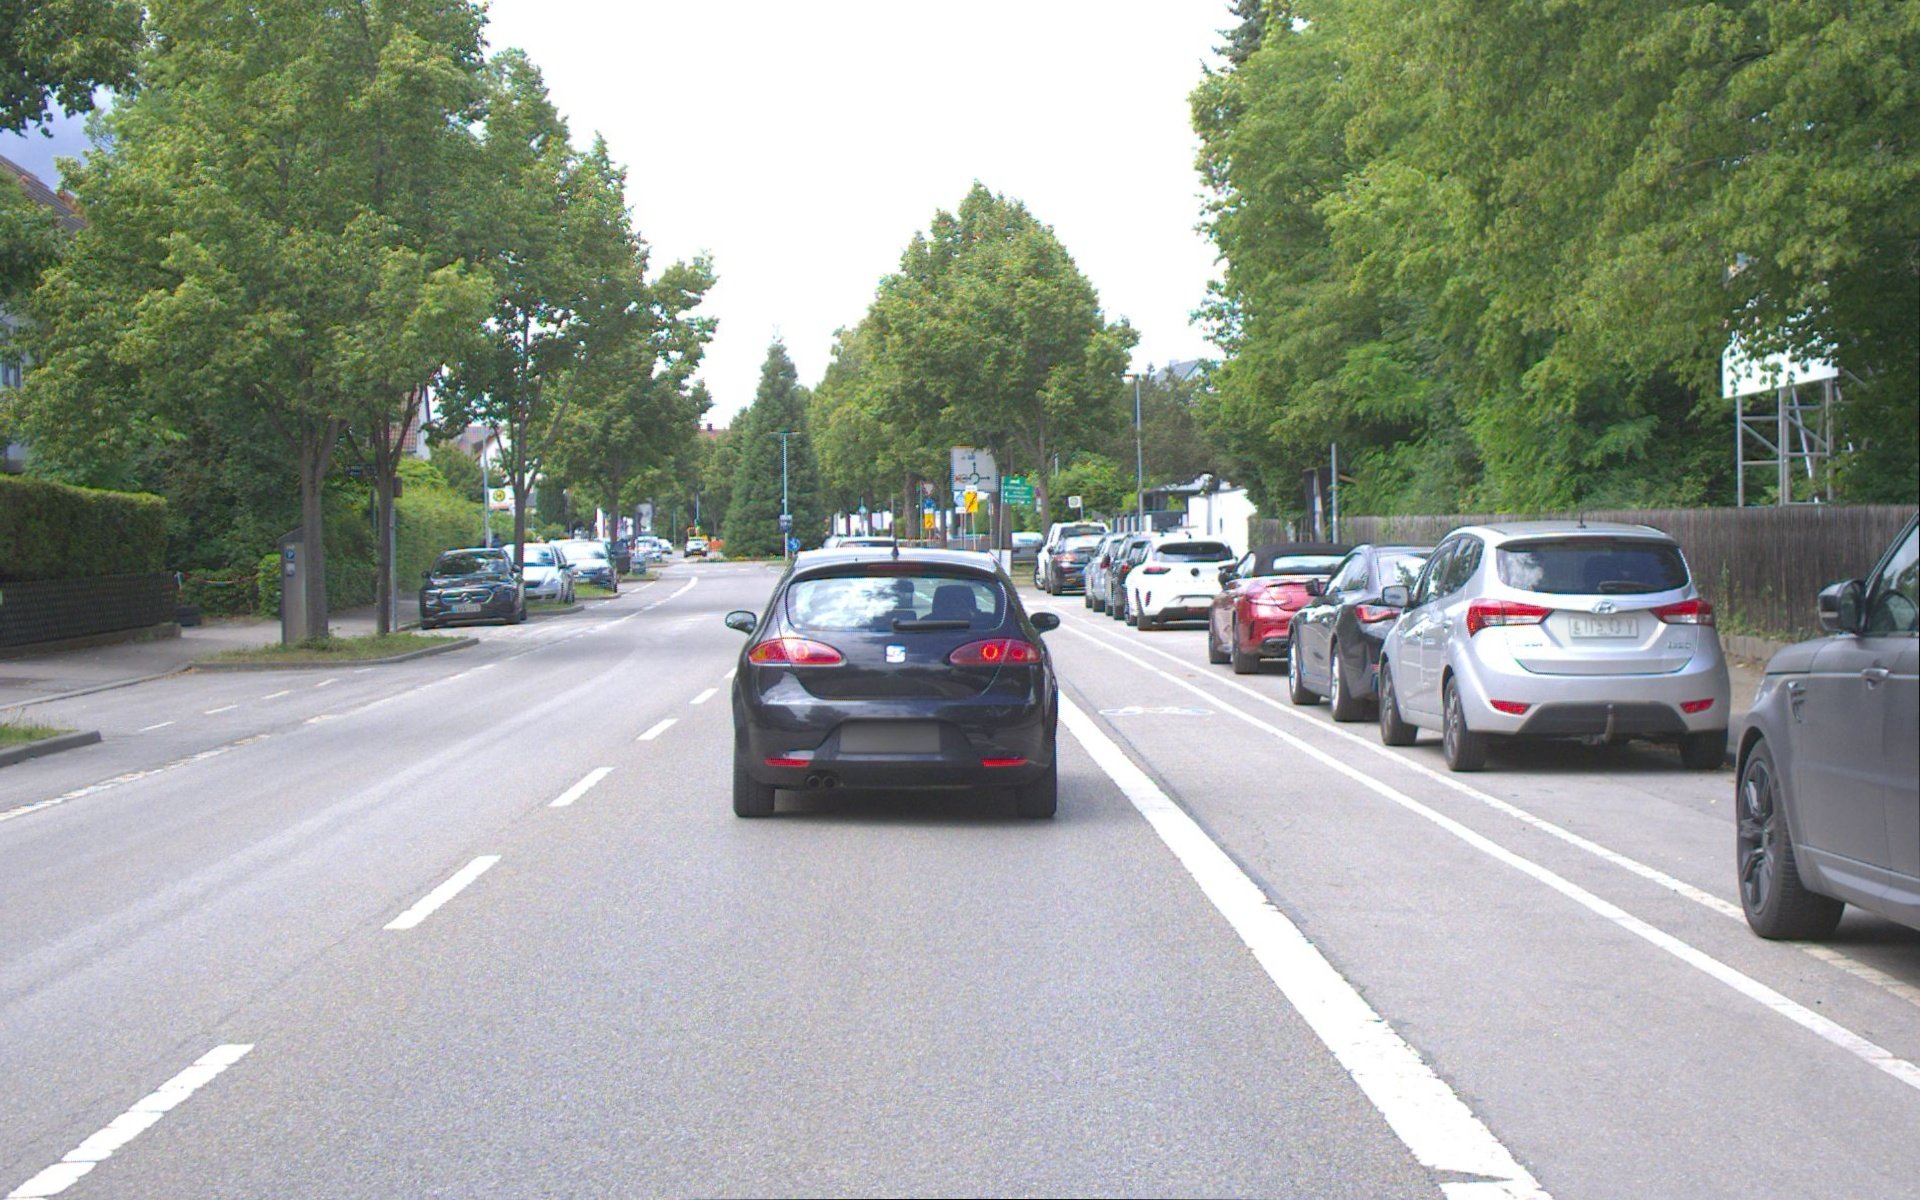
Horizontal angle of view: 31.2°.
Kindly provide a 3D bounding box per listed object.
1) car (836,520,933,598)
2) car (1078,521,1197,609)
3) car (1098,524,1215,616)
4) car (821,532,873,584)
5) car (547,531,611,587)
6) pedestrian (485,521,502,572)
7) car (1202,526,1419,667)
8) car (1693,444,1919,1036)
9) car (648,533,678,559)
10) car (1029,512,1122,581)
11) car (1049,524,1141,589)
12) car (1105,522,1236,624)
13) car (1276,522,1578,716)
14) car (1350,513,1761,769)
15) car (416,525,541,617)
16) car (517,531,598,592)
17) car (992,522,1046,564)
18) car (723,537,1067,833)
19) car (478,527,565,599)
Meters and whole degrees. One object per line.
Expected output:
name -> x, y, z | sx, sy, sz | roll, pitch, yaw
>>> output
car -> -1.647, -0.897, 73.821 | 1.993, 1.607, 4.001 | -1, 1, -2
car -> 3.335, -0.675, 65.443 | 1.861, 1.605, 4.687 | 0, 1, -2
car -> 3.366, -0.554, 59.595 | 1.702, 1.505, 4.538 | 0, 2, -1
car -> -4.484, -1.691, 136.671 | 1.993, 2.007, 4.001 | -1, 1, -2
car -> -11.054, -1.206, 99.931 | 1.677, 1.546, 4.273 | -2, 1, -4
pedestrian -> -16.593, -1.894, 122.370 | 0.503, 1.800, 0.671 | -2, 1, -3
car -> 3.846, -0.082, 38.406 | 1.859, 1.408, 4.444 | 1, 2, -1
car -> 3.929, 0.422, 11.243 | 1.993, 1.809, 4.827 | 0, 1, 0
car -> -19.209, -3.528, 222.569 | 1.797, 1.596, 4.001 | -2, 1, -4
car -> 2.829, -1.323, 85.094 | 1.900, 1.637, 4.117 | -2, 1, -3
car -> 3.058, -1.009, 78.428 | 1.863, 1.412, 4.603 | -1, 1, 0
car -> 3.268, -0.433, 53.989 | 1.768, 1.505, 4.031 | -1, 1, 0
car -> 3.872, 0.114, 29.253 | 1.816, 1.510, 4.680 | 0, 1, -1
car -> 3.968, 0.208, 23.636 | 1.862, 1.584, 4.422 | -1, 1, -3
car -> -9.436, -0.607, 67.699 | 2.095, 1.641, 5.039 | -2, 2, -5
car -> -10.658, -1.038, 91.201 | 1.993, 1.480, 4.891 | -2, 1, -6
car -> 2.079, -2.012, 121.718 | 1.611, 1.372, 4.387 | -2, 0, -3
car -> -0.345, 0.395, 19.465 | 1.732, 1.481, 4.000 | 1, 1, 0
car -> -10.430, -0.898, 81.962 | 1.718, 1.607, 3.911 | -2, 1, -3
